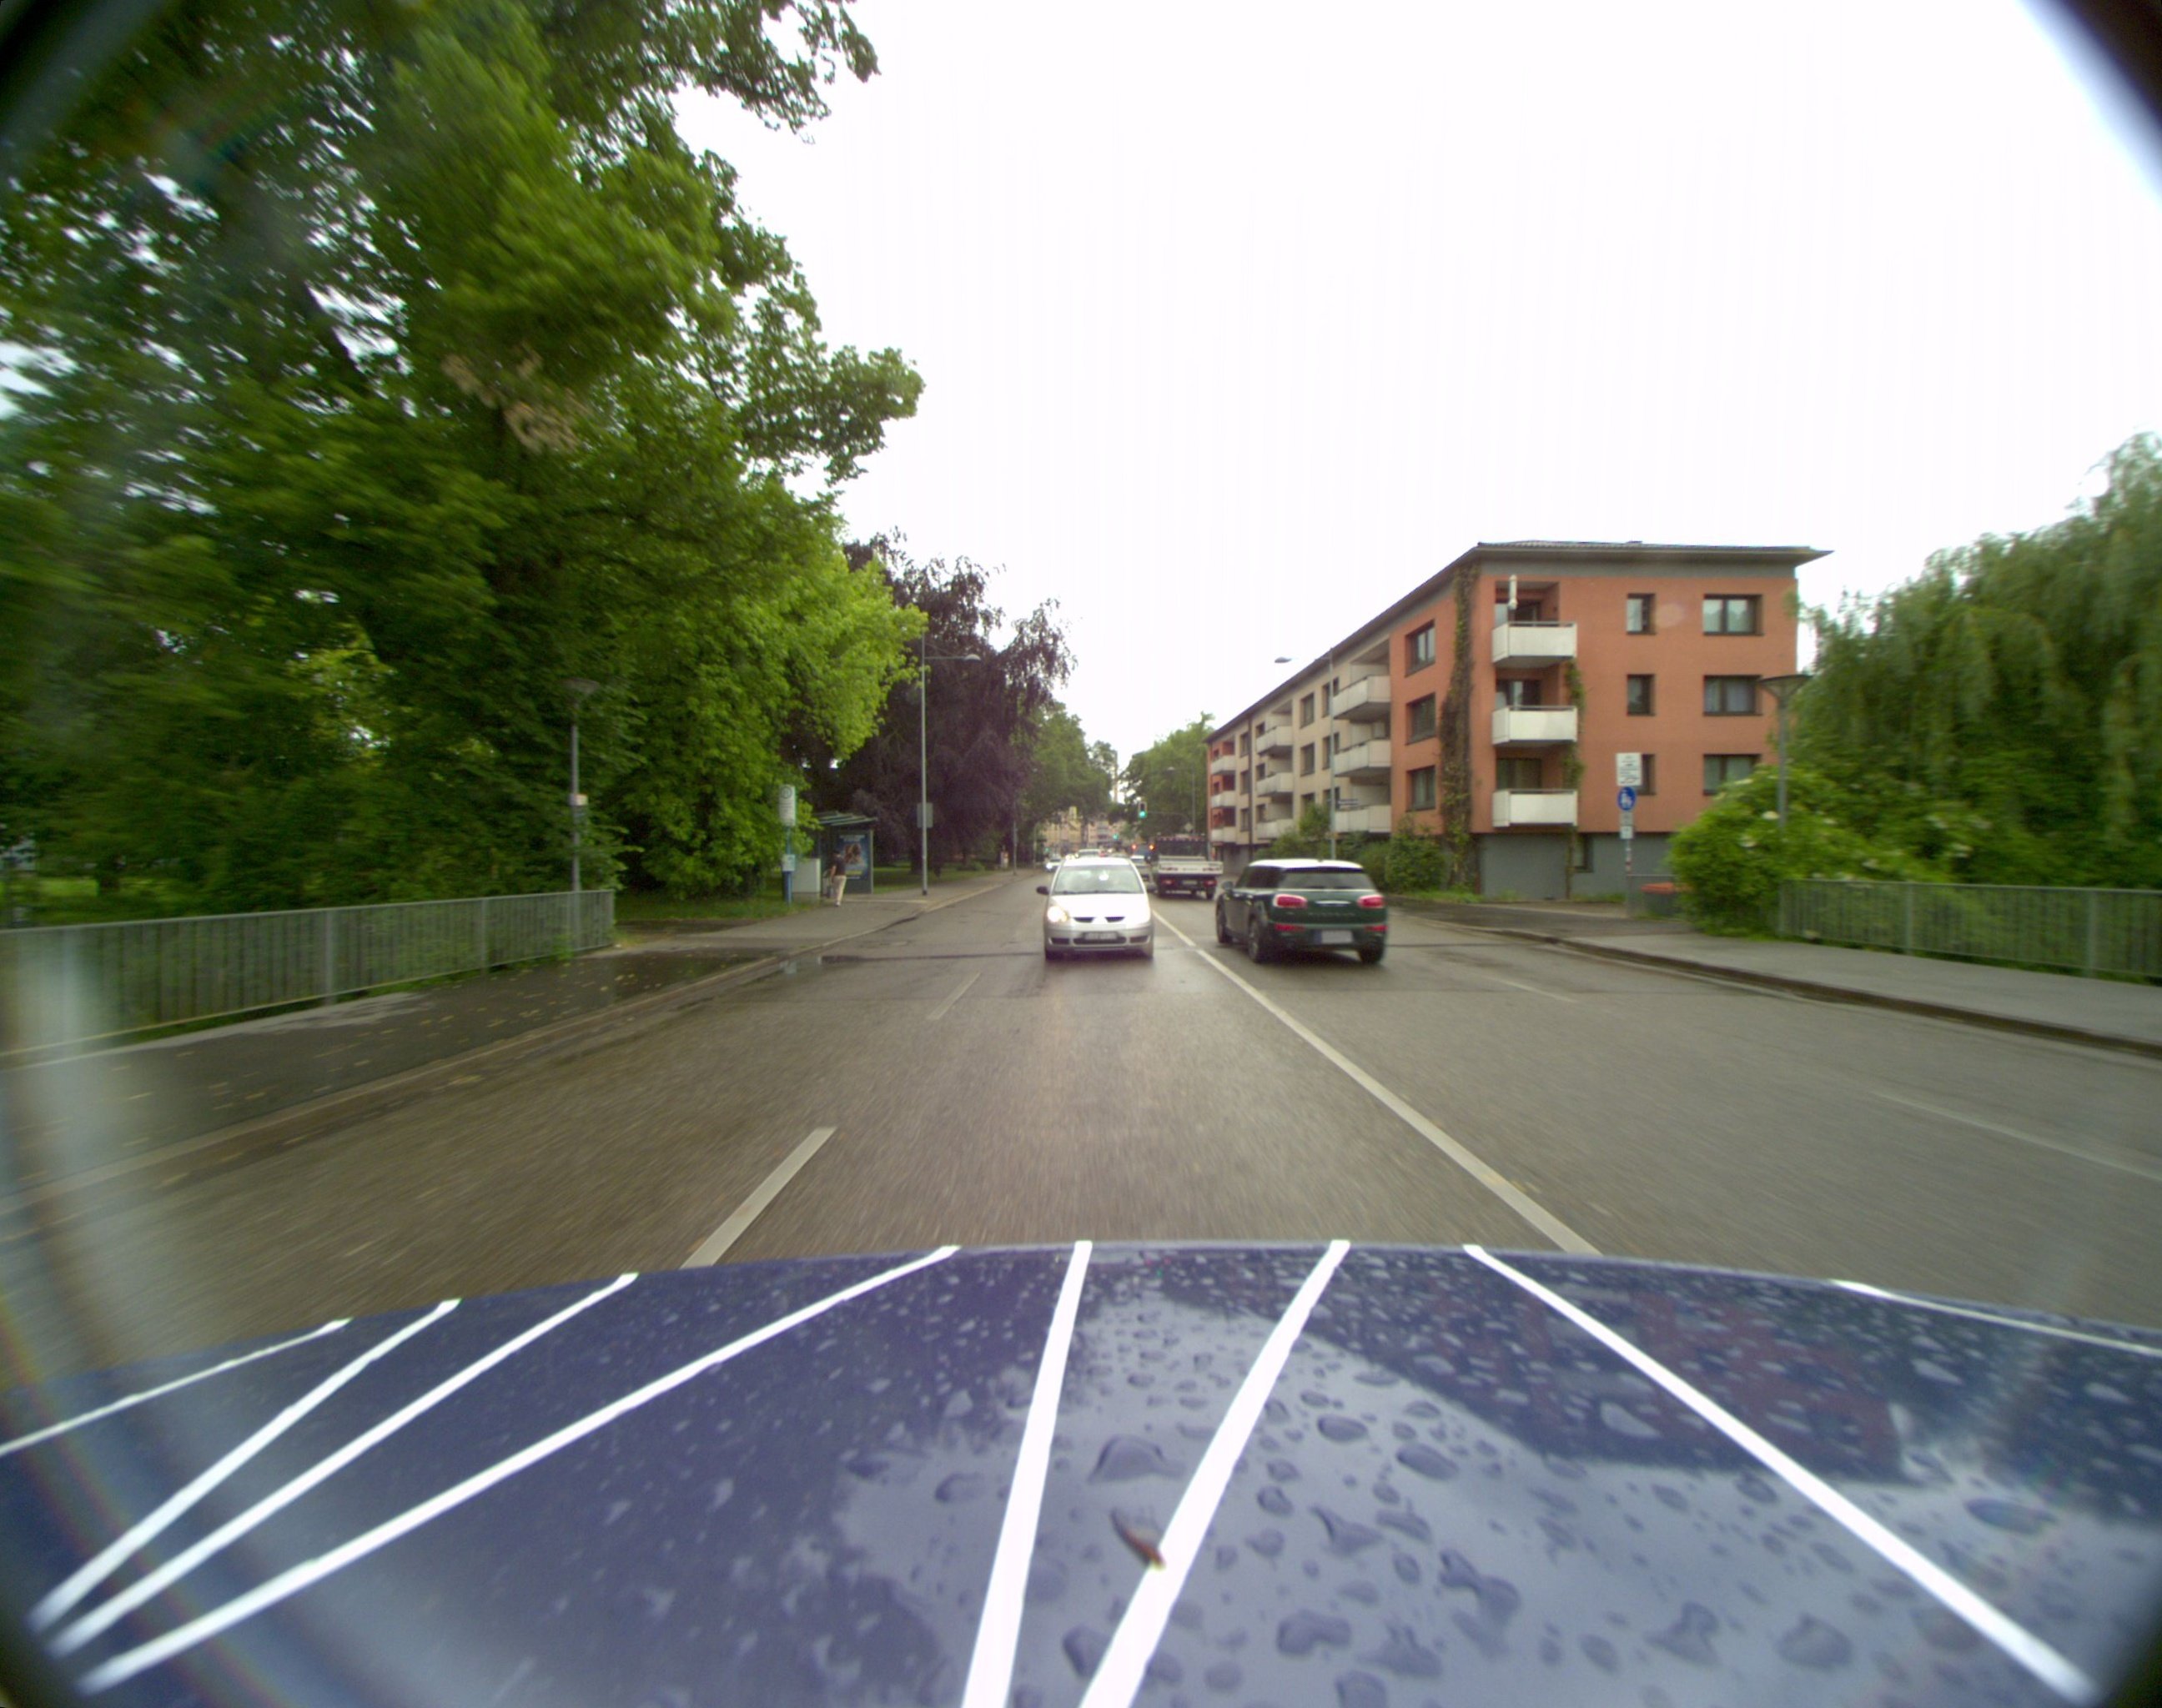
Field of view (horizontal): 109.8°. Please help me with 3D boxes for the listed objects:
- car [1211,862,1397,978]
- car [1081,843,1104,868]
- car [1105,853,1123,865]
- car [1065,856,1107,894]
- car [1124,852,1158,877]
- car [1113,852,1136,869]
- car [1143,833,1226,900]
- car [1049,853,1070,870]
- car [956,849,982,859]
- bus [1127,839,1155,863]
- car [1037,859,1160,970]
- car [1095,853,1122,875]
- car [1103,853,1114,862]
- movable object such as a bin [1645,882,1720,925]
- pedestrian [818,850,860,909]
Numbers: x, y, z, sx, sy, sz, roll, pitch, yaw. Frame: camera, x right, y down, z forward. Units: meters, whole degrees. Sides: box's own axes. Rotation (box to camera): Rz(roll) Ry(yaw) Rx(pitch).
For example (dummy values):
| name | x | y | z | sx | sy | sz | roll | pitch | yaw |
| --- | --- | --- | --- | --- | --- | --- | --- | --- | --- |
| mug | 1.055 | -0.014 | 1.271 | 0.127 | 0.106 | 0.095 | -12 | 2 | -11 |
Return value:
| name | x | y | z | sx | sy | sz | roll | pitch | yaw |
| --- | --- | --- | --- | --- | --- | --- | --- | --- | --- |
| car | 3.213 | 0.870 | 11.797 | 1.750 | 1.431 | 4.000 | 0 | 0 | 1 |
| car | 1.083 | 0.101 | 69.478 | 2.037 | 2.119 | 3.999 | 0 | 1 | 1 |
| car | 3.797 | 0.562 | 88.579 | 1.818 | 1.407 | 4.048 | 1 | 0 | -1 |
| car | 0.219 | 0.890 | 33.433 | 1.718 | 1.509 | 4.088 | -1 | 0 | 0 |
| car | 3.741 | 0.657 | 48.080 | 1.786 | 1.465 | 4.166 | 1 | 0 | 0 |
| car | 4.120 | 0.584 | 72.340 | 1.818 | 1.569 | 4.231 | 1 | 0 | -1 |
| car | 3.818 | 0.436 | 29.255 | 2.295 | 2.295 | 6.509 | 1 | 0 | 0 |
| car | -2.196 | 0.758 | 78.165 | 1.906 | 1.538 | 3.999 | 0 | 1 | 1 |
| car | -18.542 | -0.012 | 125.635 | 3.998 | 1.706 | 1.999 | 0 | 0 | -2 |
| bus | 7.660 | -0.421 | 97.730 | 2.700 | 2.923 | 12.082 | 1 | 1 | 0 |
| car | 0.255 | 0.878 | 13.240 | 1.718 | 1.509 | 4.806 | -1 | 0 | 0 |
| car | 1.925 | 0.681 | 53.382 | 1.800 | 1.449 | 4.491 | 0 | 0 | 1 |
| car | 4.499 | 0.629 | 126.349 | 1.691 | 1.483 | 3.889 | 1 | 0 | 0 |
| movable object such as a bin | 13.247 | 1.076 | 16.754 | 0.968 | 0.872 | 0.832 | 0 | 1 | 0 |
| pedestrian | -7.087 | 0.731 | 22.308 | 0.850 | 1.666 | 1.167 | 2 | 1 | 0 |
